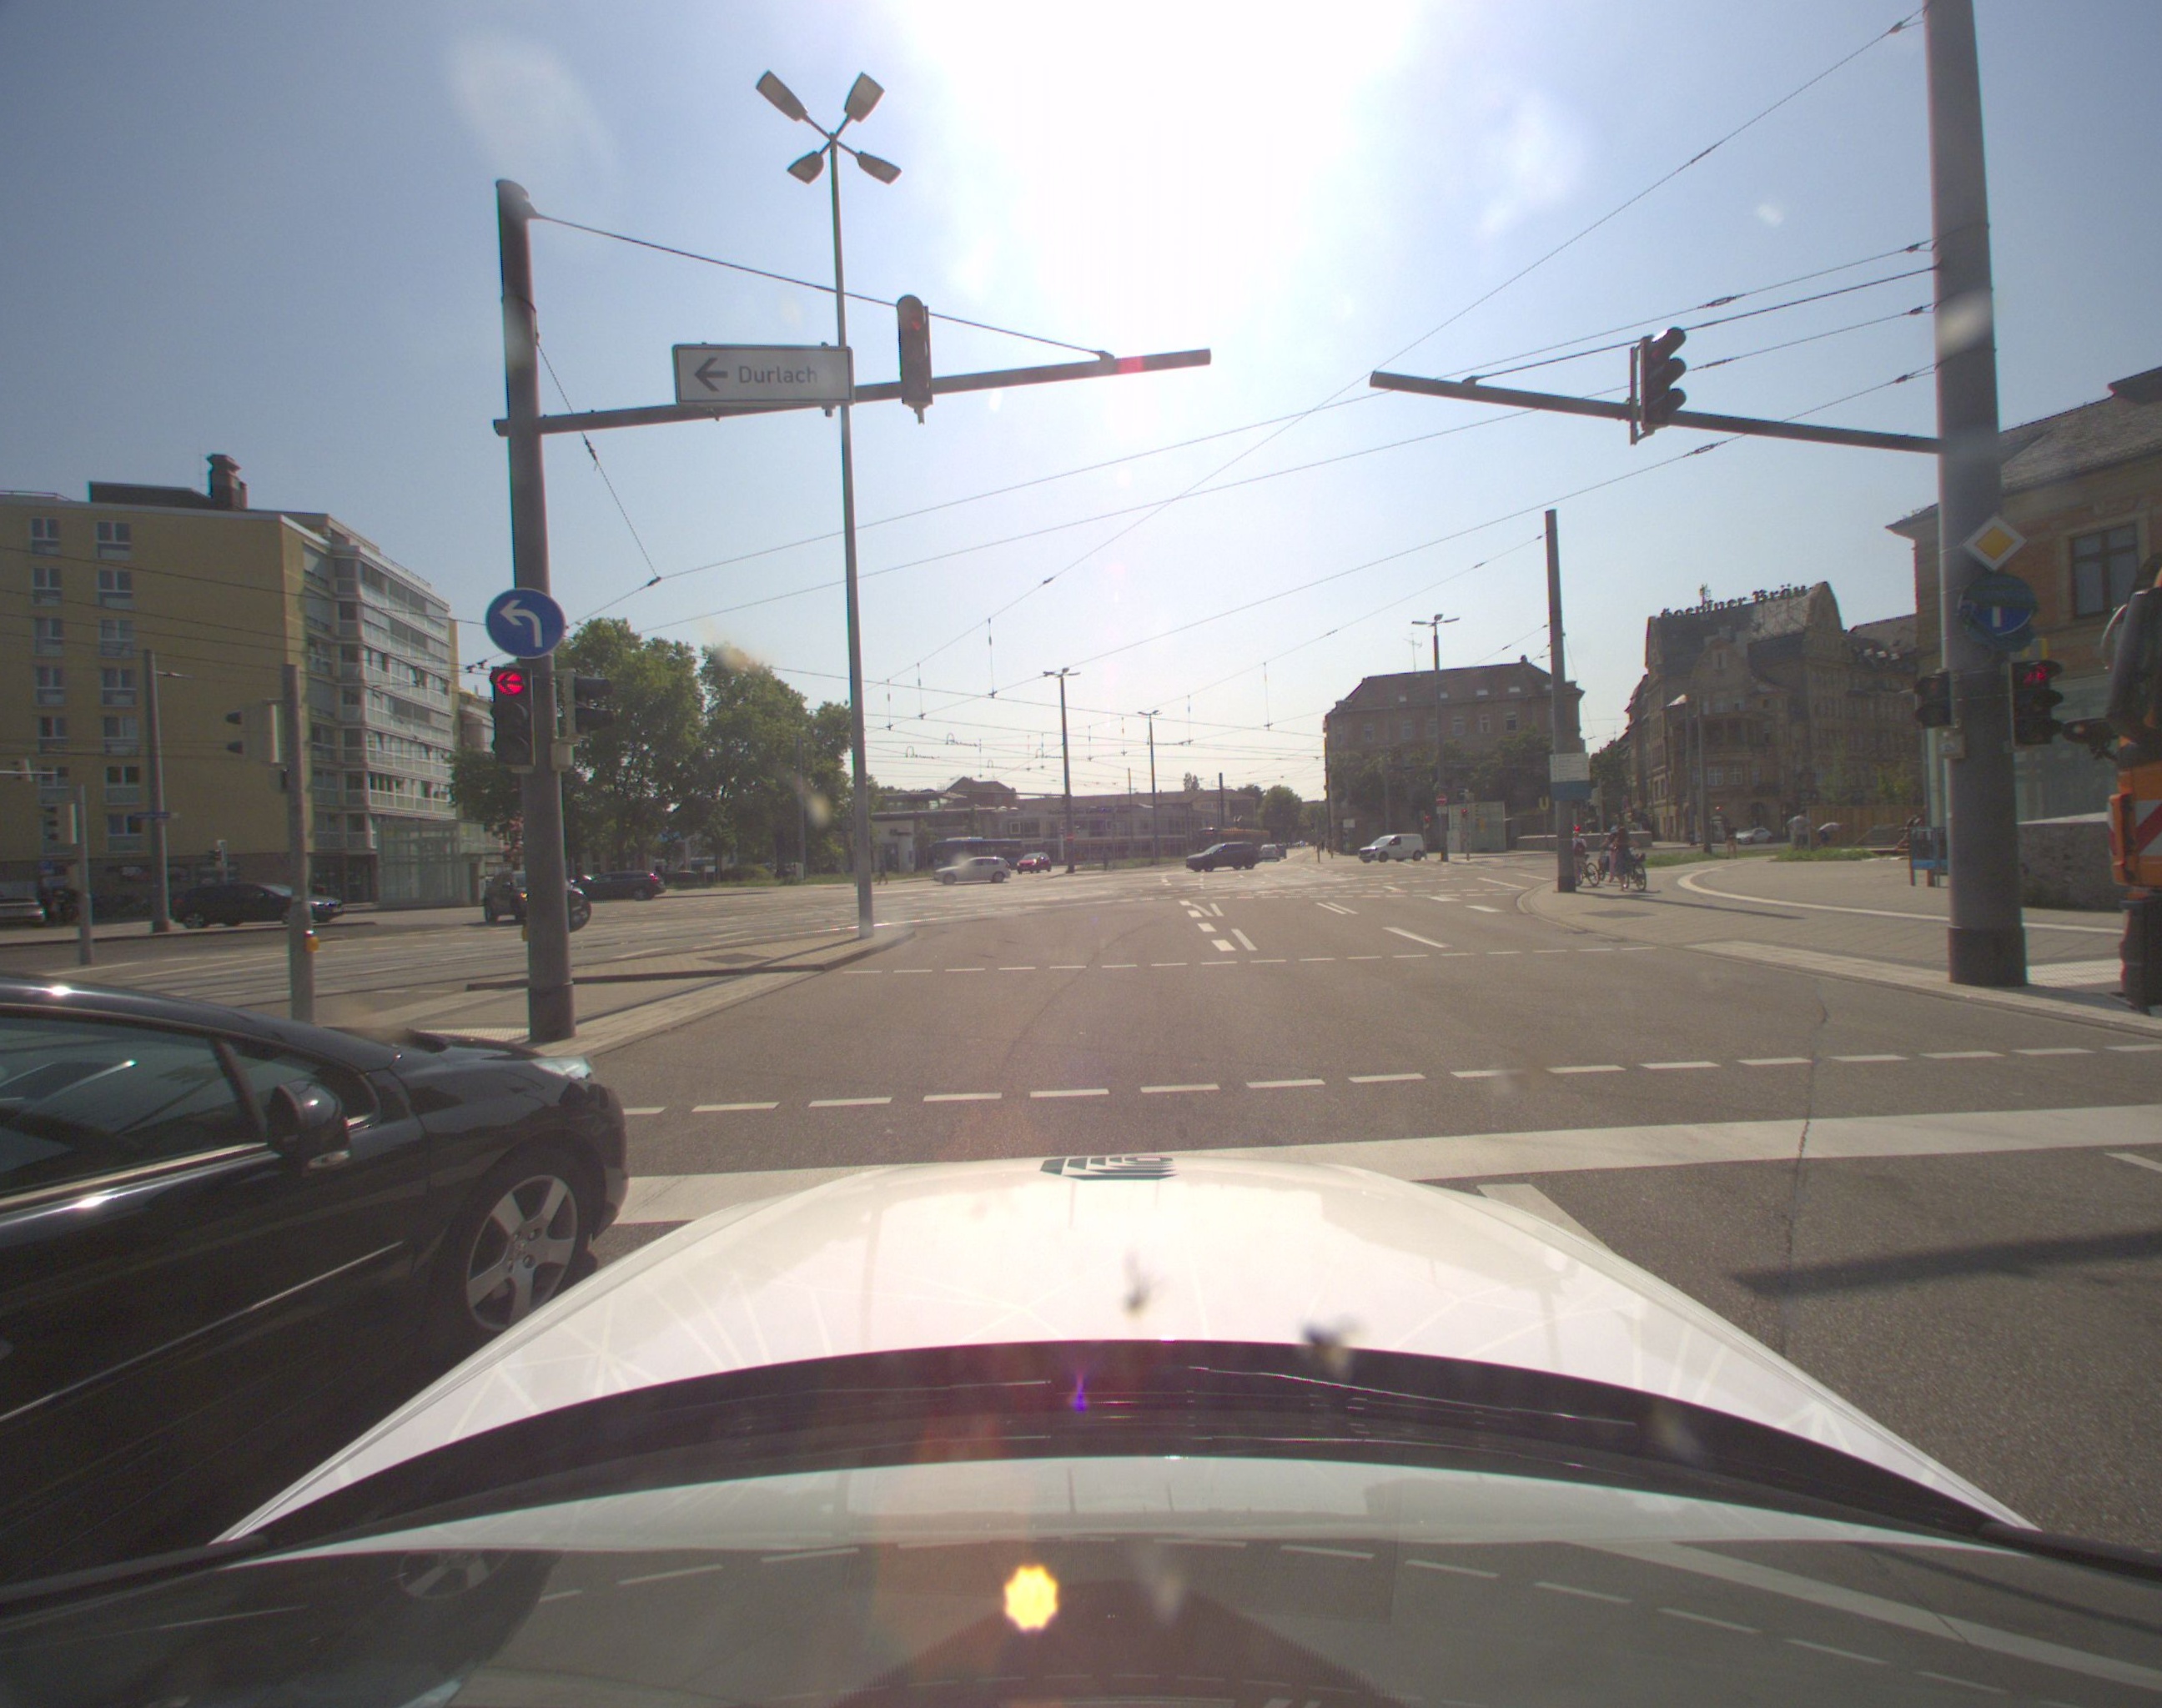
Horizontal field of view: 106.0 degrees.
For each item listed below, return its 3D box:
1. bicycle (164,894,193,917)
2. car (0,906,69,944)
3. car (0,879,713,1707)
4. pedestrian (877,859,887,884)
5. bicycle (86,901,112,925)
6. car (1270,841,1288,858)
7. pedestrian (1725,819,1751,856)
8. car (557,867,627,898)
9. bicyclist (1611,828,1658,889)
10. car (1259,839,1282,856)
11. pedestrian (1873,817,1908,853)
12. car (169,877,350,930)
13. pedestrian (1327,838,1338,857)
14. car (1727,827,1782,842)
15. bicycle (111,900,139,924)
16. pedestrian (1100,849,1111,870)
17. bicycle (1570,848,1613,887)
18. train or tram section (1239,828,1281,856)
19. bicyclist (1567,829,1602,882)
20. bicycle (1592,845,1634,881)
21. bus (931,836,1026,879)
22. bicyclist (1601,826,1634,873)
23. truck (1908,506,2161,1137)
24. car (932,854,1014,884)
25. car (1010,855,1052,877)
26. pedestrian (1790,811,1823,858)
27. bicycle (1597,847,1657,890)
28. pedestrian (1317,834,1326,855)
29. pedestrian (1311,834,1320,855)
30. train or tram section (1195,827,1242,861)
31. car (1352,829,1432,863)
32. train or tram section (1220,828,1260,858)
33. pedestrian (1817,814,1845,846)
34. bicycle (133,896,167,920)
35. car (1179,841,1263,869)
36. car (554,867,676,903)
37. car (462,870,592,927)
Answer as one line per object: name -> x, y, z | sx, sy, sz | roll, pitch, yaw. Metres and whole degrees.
bicycle -> -49.365, 2.820, 44.547 | 3.220, 1.204, 0.699 | -3, 0, 36
car -> -47.990, 3.193, 37.306 | 3.948, 1.508, 1.759 | -2, 0, 35
car -> -2.648, 0.813, 1.563 | 1.756, 1.388, 3.789 | -1, 0, 8
pedestrian -> -13.675, 1.193, 55.951 | 0.554, 1.684, 0.451 | -2, 0, -17
bicycle -> -52.878, 3.182, 43.830 | 2.754, 1.204, 0.699 | -3, 0, 36
car -> 19.710, -0.432, 81.011 | 1.625, 1.618, 4.016 | -2, 0, 14
pedestrian -> 28.401, -0.717, 35.227 | 0.794, 1.575, 0.729 | -2, 0, -44
car -> -36.068, 2.084, 60.160 | 3.994, 2.013, 1.921 | -2, 0, -15
bicyclist -> 14.166, 0.118, 20.871 | 0.730, 1.517, 0.665 | -2, 0, 6
car -> 16.745, -0.578, 72.090 | 1.758, 1.415, 4.203 | -2, 0, 12
pedestrian -> 31.951, -0.745, 32.145 | 0.768, 1.399, 0.687 | -2, 0, -23
car -> -29.083, 1.727, 28.976 | 4.200, 1.560, 1.731 | -2, 0, -14
pedestrian -> 21.464, -0.572, 69.600 | 0.699, 1.603, 0.572 | -2, 0, -6
car -> 56.594, -1.668, 68.464 | 4.006, 1.090, 1.984 | -2, 0, -24
bicycle -> -51.752, 3.117, 44.060 | 3.220, 1.204, 0.699 | -3, 0, 36
pedestrian -> 1.762, 0.398, 58.767 | 0.678, 1.443, 0.364 | -2, 0, -15
bicycle -> 14.621, 0.359, 23.352 | 0.532, 1.055, 1.660 | -2, 0, 14
train or tram section -> 24.707, -1.617, 111.675 | 2.564, 3.516, 13.049 | -2, 0, 26
bicyclist -> 14.647, 0.044, 23.718 | 0.623, 1.517, 0.715 | -2, 0, 14
bicycle -> 16.391, 0.257, 25.120 | 0.532, 1.055, 1.660 | -2, 0, 14
bus -> -8.127, 0.208, 66.979 | 2.541, 3.082, 12.082 | -3, 0, 19
bicyclist -> 16.259, -0.142, 24.709 | 0.526, 1.393, 0.897 | -2, 0, 14
truck -> 6.451, -0.194, 1.804 | 2.481, 3.134, 6.869 | -3, 0, 4
car -> -5.948, 0.796, 44.642 | 4.199, 1.415, 1.765 | -2, 0, -18
car -> -3.840, 0.942, 63.594 | 1.735, 1.552, 4.020 | -3, 0, 20
pedestrian -> 27.193, -0.726, 30.523 | 0.549, 1.724, 0.812 | -2, 0, -39
bicycle -> 14.217, 0.358, 21.243 | 0.489, 1.055, 1.826 | -2, 0, 7
pedestrian -> 34.346, -1.383, 116.200 | 0.978, 3.017, 0.977 | -2, 0, 7
pedestrian -> 33.310, -1.374, 115.821 | 0.978, 3.017, 0.977 | -2, 0, 7
train or tram section -> 15.627, -1.139, 91.823 | 2.565, 3.516, 10.959 | -2, 0, 23
car -> 20.245, -0.512, 53.037 | 4.626, 2.013, 1.987 | -2, 0, -20
train or tram section -> 19.874, -1.411, 101.335 | 2.565, 3.516, 9.714 | -2, 0, 25
pedestrian -> 29.427, -0.923, 31.970 | 0.658, 1.214, 0.531 | -2, 0, 30
bicycle -> -50.638, 2.952, 44.292 | 3.220, 1.204, 0.916 | -3, 0, 36
car -> 8.478, 0.060, 49.490 | 4.624, 1.505, 1.987 | -2, 0, -19
car -> -22.365, 1.450, 39.269 | 4.766, 1.415, 1.765 | -2, 0, -18
car -> -17.533, 1.380, 25.723 | 4.484, 1.600, 1.783 | -2, 0, 33
